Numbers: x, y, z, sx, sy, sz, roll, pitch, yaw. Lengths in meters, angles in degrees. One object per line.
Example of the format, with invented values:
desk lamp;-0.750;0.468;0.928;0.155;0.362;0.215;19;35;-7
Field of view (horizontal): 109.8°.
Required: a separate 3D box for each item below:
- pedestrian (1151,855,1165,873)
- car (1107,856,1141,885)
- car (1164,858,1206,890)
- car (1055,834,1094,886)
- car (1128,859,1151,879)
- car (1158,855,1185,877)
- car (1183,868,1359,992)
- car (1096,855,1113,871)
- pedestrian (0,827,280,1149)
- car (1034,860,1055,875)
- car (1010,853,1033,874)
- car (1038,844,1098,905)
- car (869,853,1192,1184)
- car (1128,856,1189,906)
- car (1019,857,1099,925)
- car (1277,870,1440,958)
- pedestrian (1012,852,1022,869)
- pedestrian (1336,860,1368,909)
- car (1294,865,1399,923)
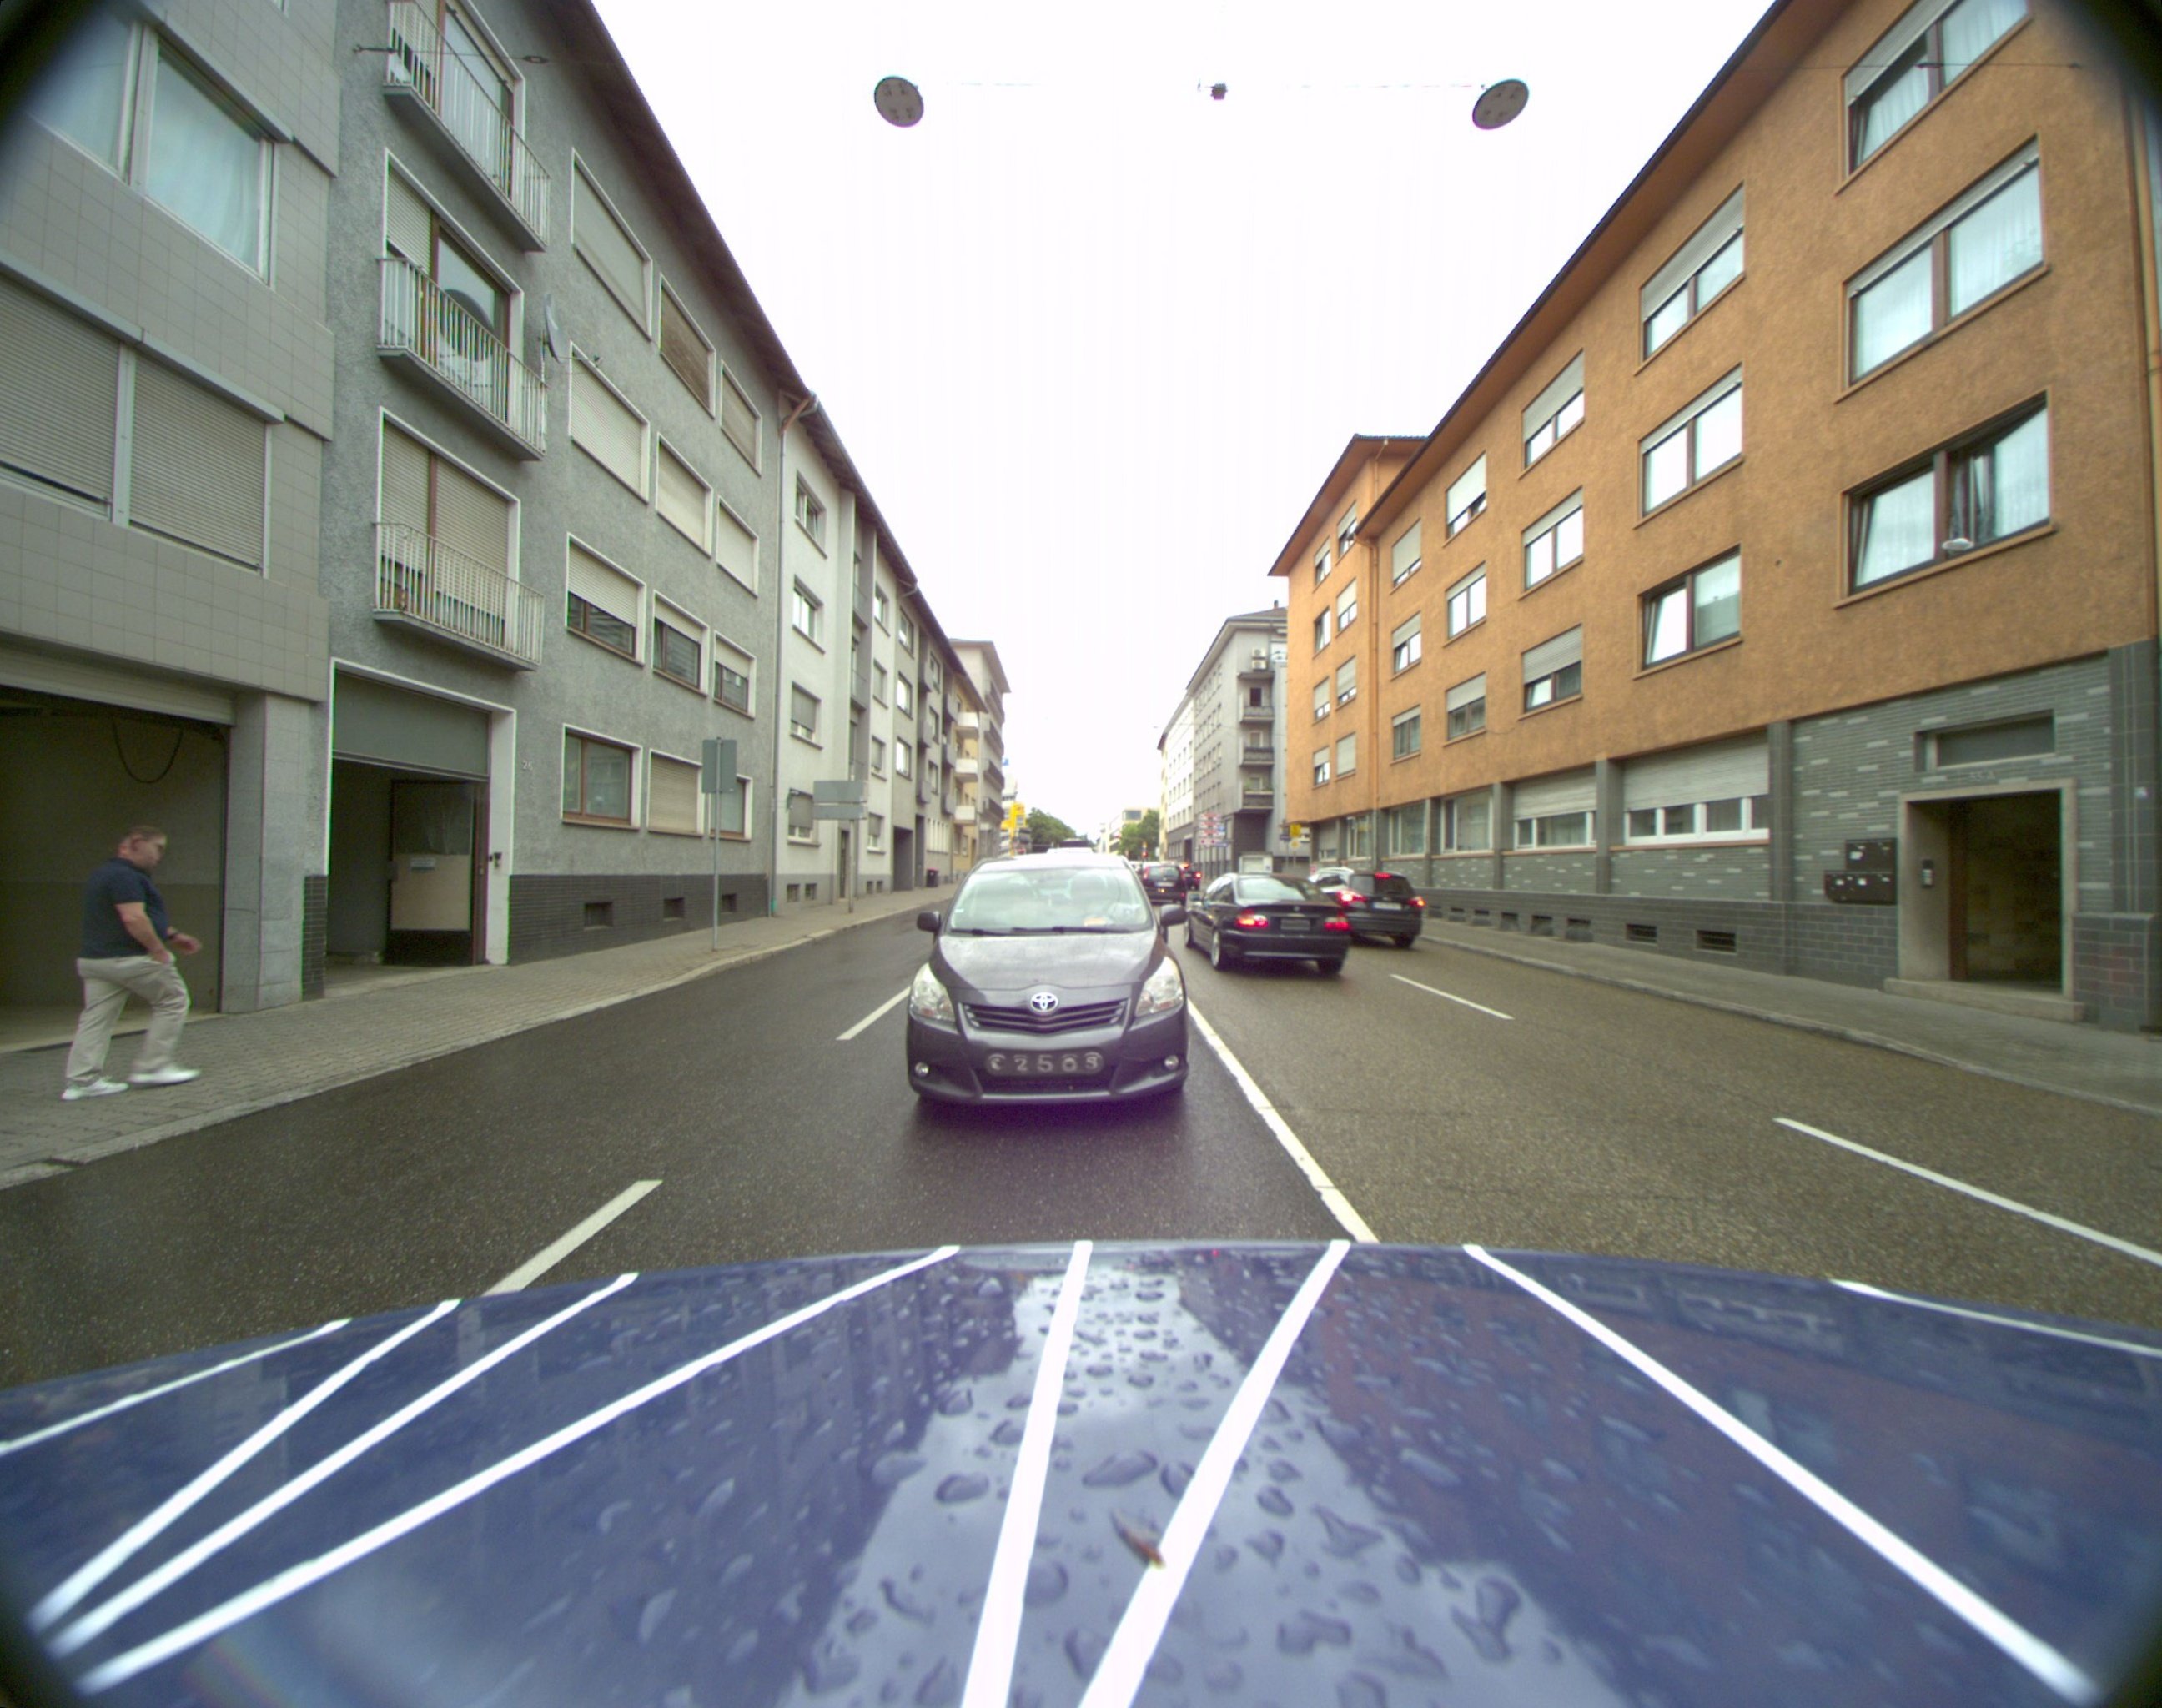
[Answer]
pedestrian;8.601;1.095;85.044;1.309;2.002;1.258;-2;1;1
car;2.523;0.947;45.533;1.749;1.530;4.052;2;1;-1
car;5.866;1.090;43.325;1.699;1.530;4.435;4;1;0
car;-0.326;0.299;43.644;2.033;2.731;4.368;-2;1;1
car;5.458;1.370;71.658;1.856;1.651;4.610;-2;1;1
car;7.820;0.997;65.752;1.856;1.712;4.217;-2;1;1
car;2.685;1.001;11.726;1.699;1.362;4.217;2;1;1
car;2.847;1.070;92.786;1.856;1.712;4.217;-2;1;1
pedestrian;-6.399;0.785;5.047;0.871;1.855;1.120;4;1;1
car;-3.878;1.449;81.467;1.856;1.369;4.217;-2;1;1
car;-5.126;0.792;65.886;1.856;1.663;4.215;-2;1;-4
car;-0.391;0.637;26.601;1.856;1.882;4.217;-2;1;1
car;-0.246;0.901;6.252;1.699;1.712;4.217;-2;1;1
car;2.695;0.909;27.187;1.622;1.530;4.216;2;1;-1
car;-0.500;0.893;20.096;1.856;1.524;3.792;-2;1;1
car;5.638;1.137;16.073;1.727;1.464;4.373;2;0;-1
pedestrian;-6.740;0.703;80.023;1.119;1.741;0.961;1;1;-5
pedestrian;9.492;1.064;26.667;0.768;1.630;1.023;-2;1;5
car;8.049;1.148;23.460;1.799;1.466;4.217;-2;1;1
